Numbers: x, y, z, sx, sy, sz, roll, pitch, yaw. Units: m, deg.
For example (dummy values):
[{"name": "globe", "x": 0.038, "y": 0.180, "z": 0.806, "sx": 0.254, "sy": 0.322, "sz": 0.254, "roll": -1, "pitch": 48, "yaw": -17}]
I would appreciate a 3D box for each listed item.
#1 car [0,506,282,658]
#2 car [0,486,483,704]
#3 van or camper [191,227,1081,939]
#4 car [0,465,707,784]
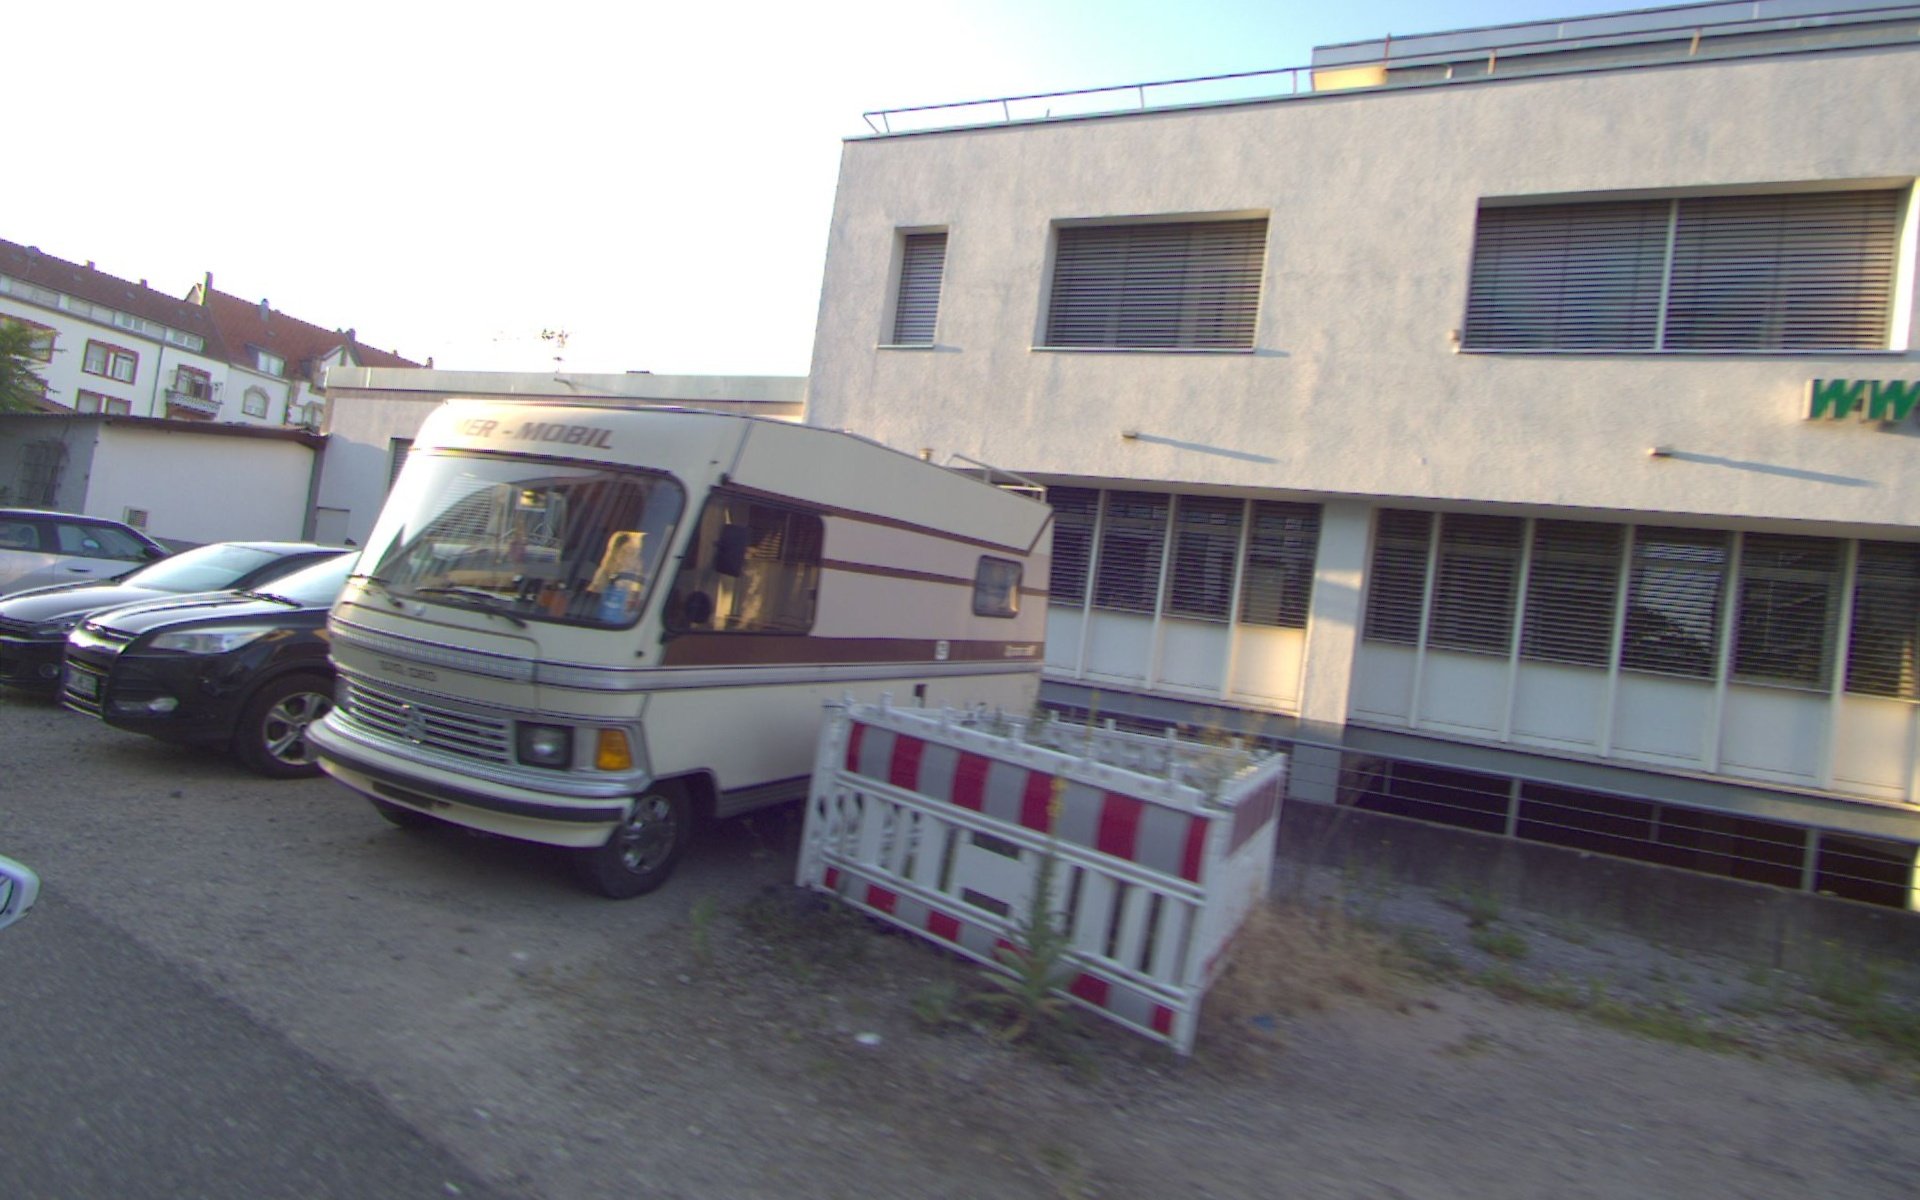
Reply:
[{"name": "car", "x": -10.523, "y": -0.242, "z": 11.885, "sx": 1.682, "sy": 1.496, "sz": 3.716, "roll": 7, "pitch": -2, "yaw": 26}, {"name": "car", "x": -6.879, "y": 0.059, "z": 9.520, "sx": 1.681, "sy": 1.581, "sz": 4.018, "roll": 7, "pitch": -2, "yaw": 24}, {"name": "van or camper", "x": -1.418, "y": 0.075, "z": 7.213, "sx": 2.443, "sy": 2.897, "sz": 5.798, "roll": 6, "pitch": -2, "yaw": 27}, {"name": "car", "x": -4.343, "y": 0.282, "z": 7.943, "sx": 1.935, "sy": 1.761, "sz": 4.249, "roll": 6, "pitch": -2, "yaw": 32}]
